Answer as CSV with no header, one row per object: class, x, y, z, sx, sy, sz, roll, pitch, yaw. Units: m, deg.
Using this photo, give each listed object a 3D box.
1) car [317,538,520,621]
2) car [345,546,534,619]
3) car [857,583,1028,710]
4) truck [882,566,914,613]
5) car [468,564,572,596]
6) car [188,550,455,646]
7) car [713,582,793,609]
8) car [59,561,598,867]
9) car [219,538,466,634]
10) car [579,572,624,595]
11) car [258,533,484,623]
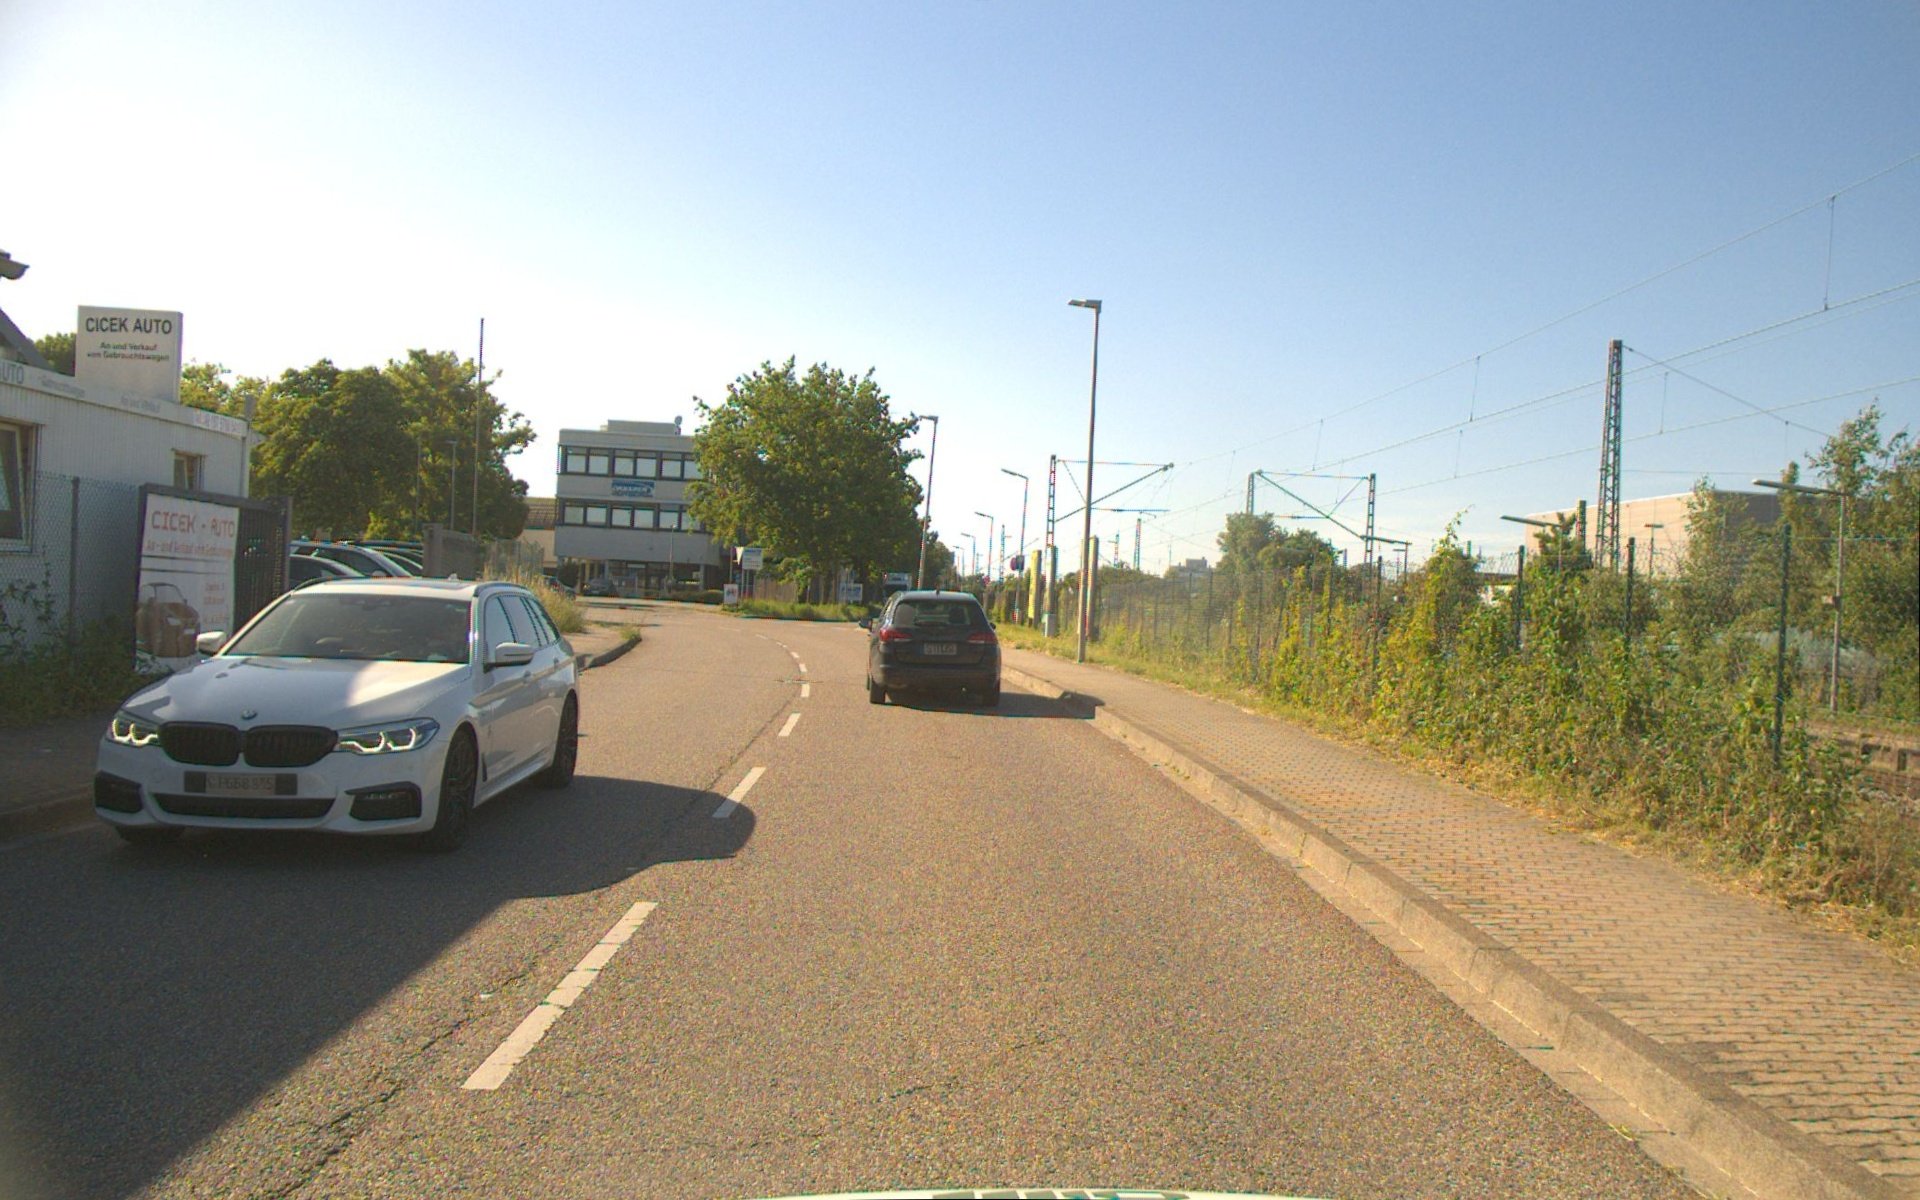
car,-12.512,-0.469,38.474,4.318,1.677,1.832,3,0,-16
car,-13.549,-0.443,43.104,4.349,1.677,1.820,3,0,-34
car,-0.359,0.569,23.004,1.905,1.514,4.559,1,1,-6
truck,-5.726,-0.974,151.230,2.561,3.952,13.524,3,0,-3
car,-22.968,-1.046,86.467,4.812,1.451,1.999,3,0,-2
car,-11.800,-0.035,30.843,4.311,1.533,1.835,3,0,-12
car,-13.330,-0.300,106.734,4.808,1.510,2.001,3,1,3
car,-3.667,0.558,10.622,1.772,1.504,4.686,1,0,-2
car,-12.261,-0.269,33.119,4.311,1.677,1.835,3,0,-12
car,-25.520,-1.213,117.911,1.952,1.510,4.928,3,1,2
car,-12.552,-0.459,35.506,4.315,1.677,1.834,3,0,-14
